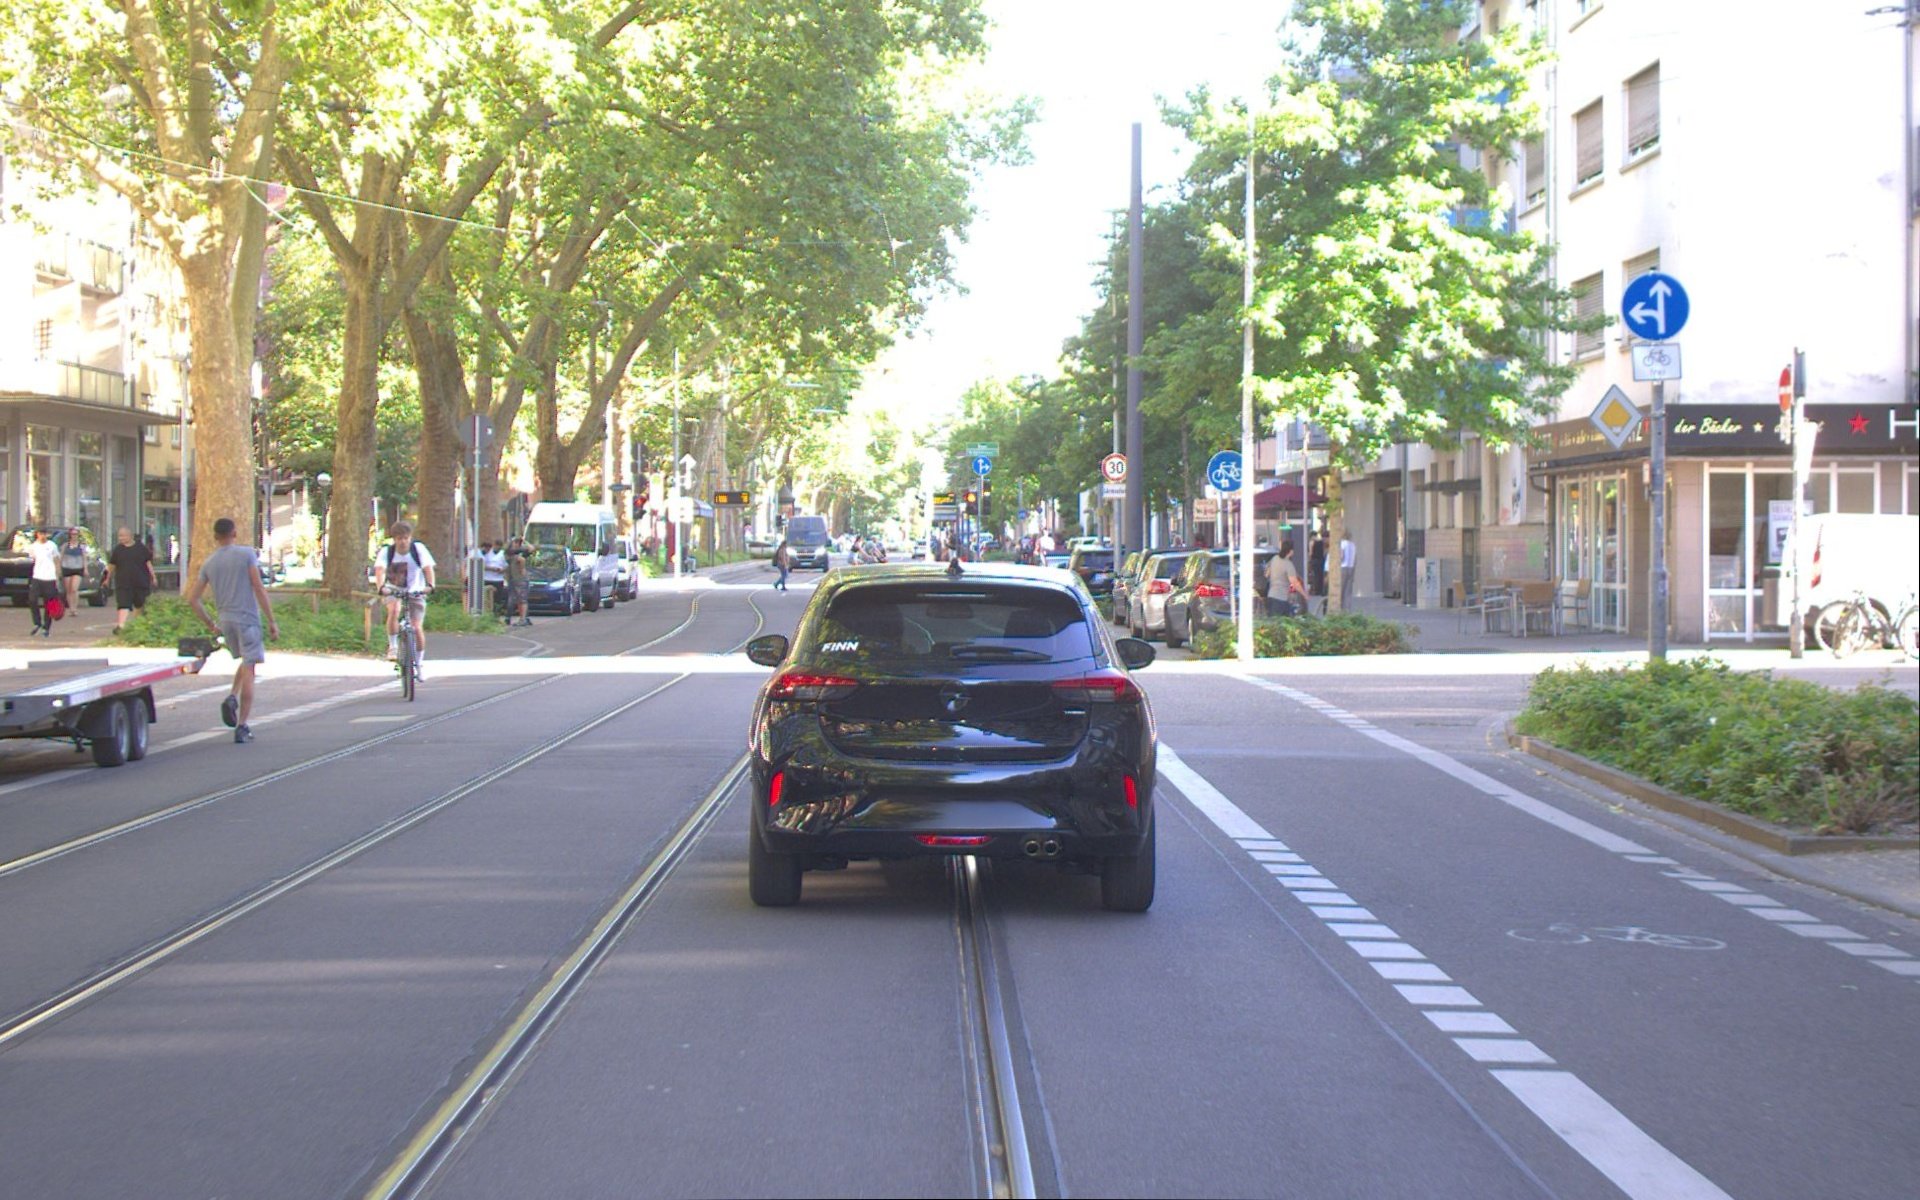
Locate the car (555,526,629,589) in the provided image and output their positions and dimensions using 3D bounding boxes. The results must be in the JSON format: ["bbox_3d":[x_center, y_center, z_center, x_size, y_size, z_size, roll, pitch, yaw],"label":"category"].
[{"bbox_3d":[-10.267,-1.209,95.914,1.993,1.711,4.001,0,1,-6],"label":"car"}]

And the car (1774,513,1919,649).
[{"bbox_3d":[13.664,-0.279,47.362,4.358,1.824,2.000,0,1,-4],"label":"car"}]

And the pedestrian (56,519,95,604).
[{"bbox_3d":[-17.193,-0.745,66.866,0.552,1.646,0.649,0,1,3],"label":"pedestrian"}]

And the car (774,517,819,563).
[{"bbox_3d":[-7.864,-2.889,165.290,1.993,2.204,5.103,0,1,-5],"label":"car"}]

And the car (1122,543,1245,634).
[{"bbox_3d":[3.769,-0.215,58.483,1.718,1.485,3.682,0,1,-2],"label":"car"}]

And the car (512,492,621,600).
[{"bbox_3d":[-9.709,-1.349,85.170,2.092,2.575,5.997,0,1,-1],"label":"car"}]

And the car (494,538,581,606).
[{"bbox_3d":[-9.658,-0.665,78.836,1.754,1.503,4.001,0,1,-4],"label":"car"}]

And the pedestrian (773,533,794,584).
[{"bbox_3d":[-5.533,-1.314,107.895,0.594,1.584,0.893,0,1,-7],"label":"pedestrian"}]

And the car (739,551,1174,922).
[{"bbox_3d":[-0.044,0.516,15.381,1.679,1.417,3.628,2,1,-1],"label":"car"}]

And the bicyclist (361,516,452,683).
[{"bbox_3d":[-5.623,-0.011,34.967,0.784,1.672,0.957,0,1,-1],"label":"bicyclist"}]

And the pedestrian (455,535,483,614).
[{"bbox_3d":[-9.858,-0.513,69.012,0.506,1.577,0.527,0,1,-4],"label":"pedestrian"}]

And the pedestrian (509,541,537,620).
[{"bbox_3d":[-8.792,-0.402,69.176,0.506,1.577,0.527,0,1,-1],"label":"pedestrian"}]

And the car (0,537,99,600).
[{"bbox_3d":[-19.760,-0.692,73.648,1.695,1.272,3.828,0,1,-1],"label":"car"}]

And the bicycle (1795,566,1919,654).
[{"bbox_3d":[11.742,0.126,44.255,1.836,1.113,0.703,0,1,3],"label":"bicycle"}]

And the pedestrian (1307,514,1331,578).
[{"bbox_3d":[9.752,-1.478,93.387,0.629,1.727,0.632,0,1,6],"label":"pedestrian"}]

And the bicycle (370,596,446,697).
[{"bbox_3d":[-5.602,0.460,34.958,0.520,0.959,1.929,0,1,-2],"label":"bicycle"}]

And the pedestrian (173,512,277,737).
[{"bbox_3d":[-5.806,0.179,27.131,0.711,1.729,0.913,-2,1,-15],"label":"pedestrian"}]

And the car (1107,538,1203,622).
[{"bbox_3d":[3.722,-0.414,66.188,1.718,1.568,3.682,0,1,1],"label":"car"}]

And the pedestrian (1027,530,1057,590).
[{"bbox_3d":[2.842,-1.384,118.959,0.856,2.007,1.069,-4,0,0],"label":"pedestrian"}]

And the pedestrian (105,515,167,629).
[{"bbox_3d":[-13.528,-0.461,56.452,0.905,1.862,0.644,0,1,-6],"label":"pedestrian"}]

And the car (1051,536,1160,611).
[{"bbox_3d":[3.234,-0.609,77.153,1.993,1.634,4.001,0,1,-4],"label":"car"}]

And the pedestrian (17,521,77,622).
[{"bbox_3d":[-14.849,-0.471,55.914,0.846,1.627,0.644,0,1,-6],"label":"pedestrian"}]

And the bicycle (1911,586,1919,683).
[{"bbox_3d":[10.571,0.373,35.440,0.802,1.012,1.969,-1,1,-6],"label":"bicycle"}]

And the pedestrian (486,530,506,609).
[{"bbox_3d":[-9.333,-0.615,69.187,0.346,1.577,0.508,0,1,-2],"label":"pedestrian"}]

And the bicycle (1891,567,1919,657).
[{"bbox_3d":[12.603,0.150,43.116,1.773,1.113,0.613,0,1,13],"label":"bicycle"}]

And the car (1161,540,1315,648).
[{"bbox_3d":[4.205,-0.126,52.485,1.718,1.568,4.085,0,1,-4],"label":"car"}]

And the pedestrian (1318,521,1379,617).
[{"bbox_3d":[7.118,-0.571,62.970,0.793,1.742,0.770,-1,1,-37],"label":"pedestrian"}]

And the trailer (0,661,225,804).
[{"bbox_3d":[-6.861,0.859,23.996,2.160,0.629,6.400,0,1,-1],"label":"trailer"}]

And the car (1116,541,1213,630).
[{"bbox_3d":[3.686,-0.282,62.360,1.651,1.568,3.083,0,1,1],"label":"car"}]

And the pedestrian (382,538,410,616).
[{"bbox_3d":[-11.365,-0.466,69.320,0.506,1.577,0.527,0,1,-14],"label":"pedestrian"}]

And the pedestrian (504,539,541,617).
[{"bbox_3d":[-8.891,-0.459,69.876,0.683,1.577,0.557,0,1,-2],"label":"pedestrian"}]
